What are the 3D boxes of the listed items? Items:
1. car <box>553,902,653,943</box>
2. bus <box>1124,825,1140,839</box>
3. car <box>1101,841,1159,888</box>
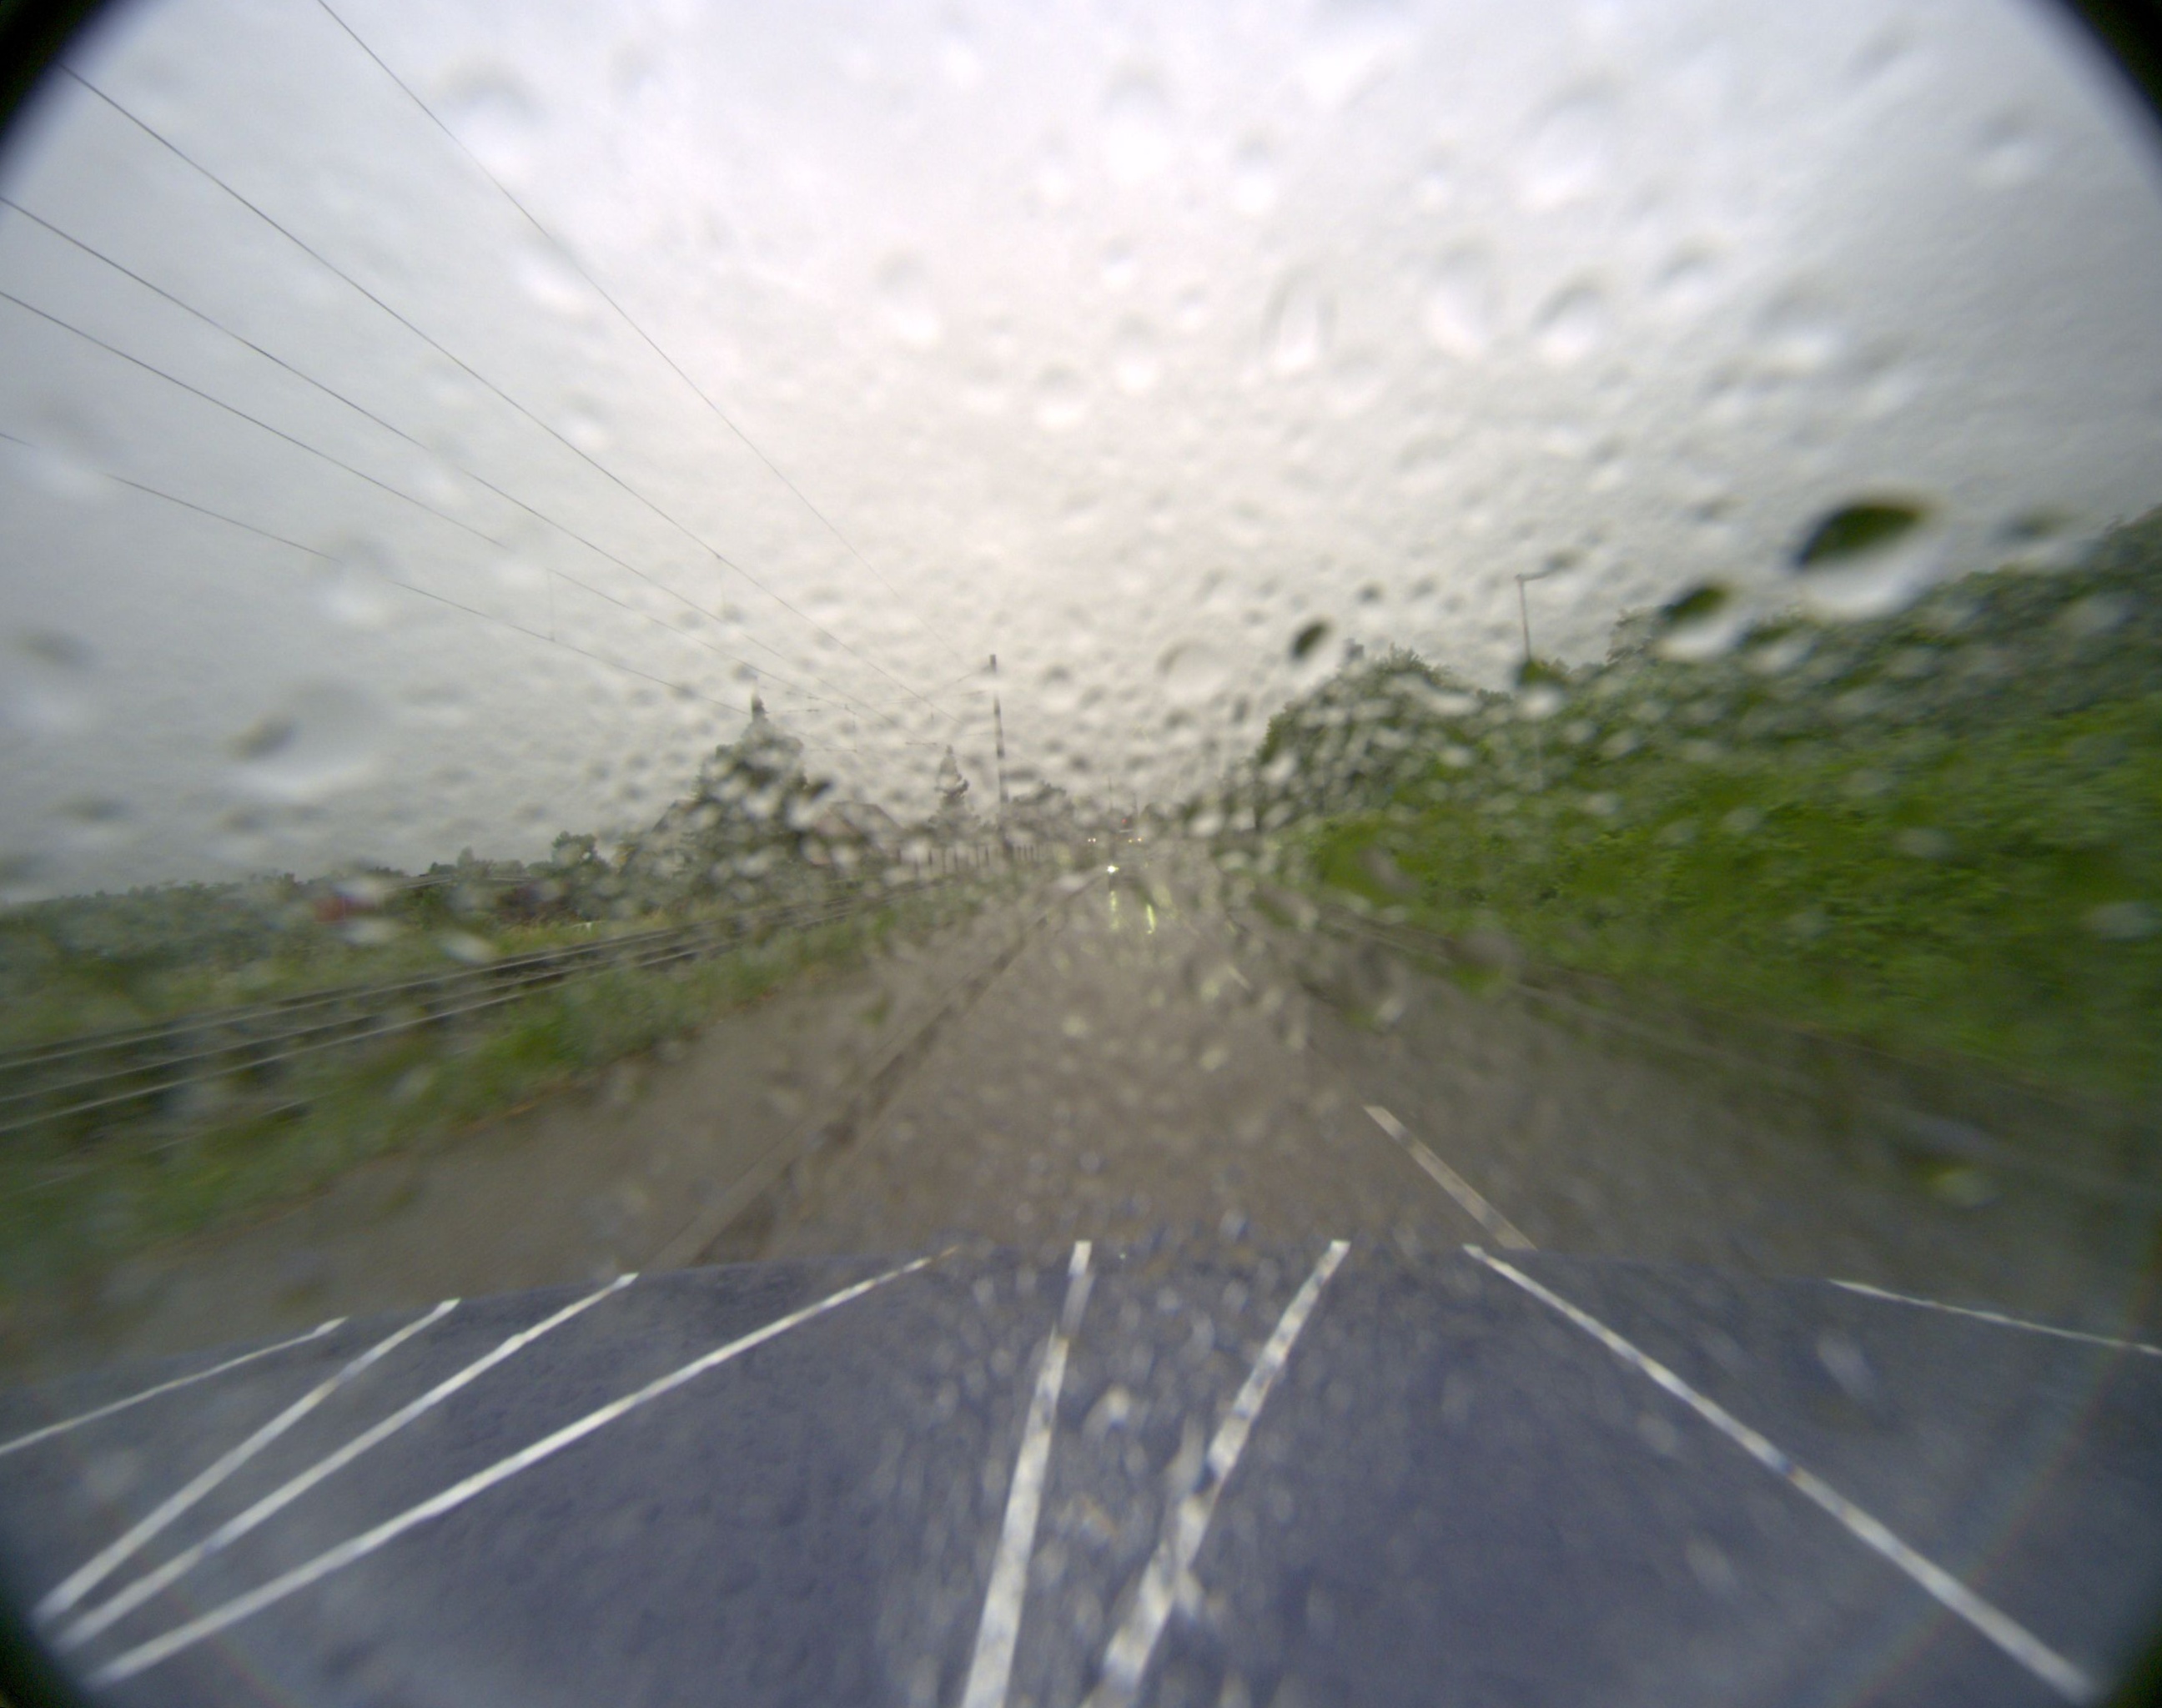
[{"bbox_3d":[-24.773,3.545,39.391,4.189,1.629,1.879,-4,2,14],"label":"car"},{"bbox_3d":[11.669,-5.053,174.116,2.676,3.060,9.990,-5,2,0],"label":"bus"},{"bbox_3d":[2.164,0.382,32.545,1.997,1.623,4.001,-5,2,9],"label":"car"}]
